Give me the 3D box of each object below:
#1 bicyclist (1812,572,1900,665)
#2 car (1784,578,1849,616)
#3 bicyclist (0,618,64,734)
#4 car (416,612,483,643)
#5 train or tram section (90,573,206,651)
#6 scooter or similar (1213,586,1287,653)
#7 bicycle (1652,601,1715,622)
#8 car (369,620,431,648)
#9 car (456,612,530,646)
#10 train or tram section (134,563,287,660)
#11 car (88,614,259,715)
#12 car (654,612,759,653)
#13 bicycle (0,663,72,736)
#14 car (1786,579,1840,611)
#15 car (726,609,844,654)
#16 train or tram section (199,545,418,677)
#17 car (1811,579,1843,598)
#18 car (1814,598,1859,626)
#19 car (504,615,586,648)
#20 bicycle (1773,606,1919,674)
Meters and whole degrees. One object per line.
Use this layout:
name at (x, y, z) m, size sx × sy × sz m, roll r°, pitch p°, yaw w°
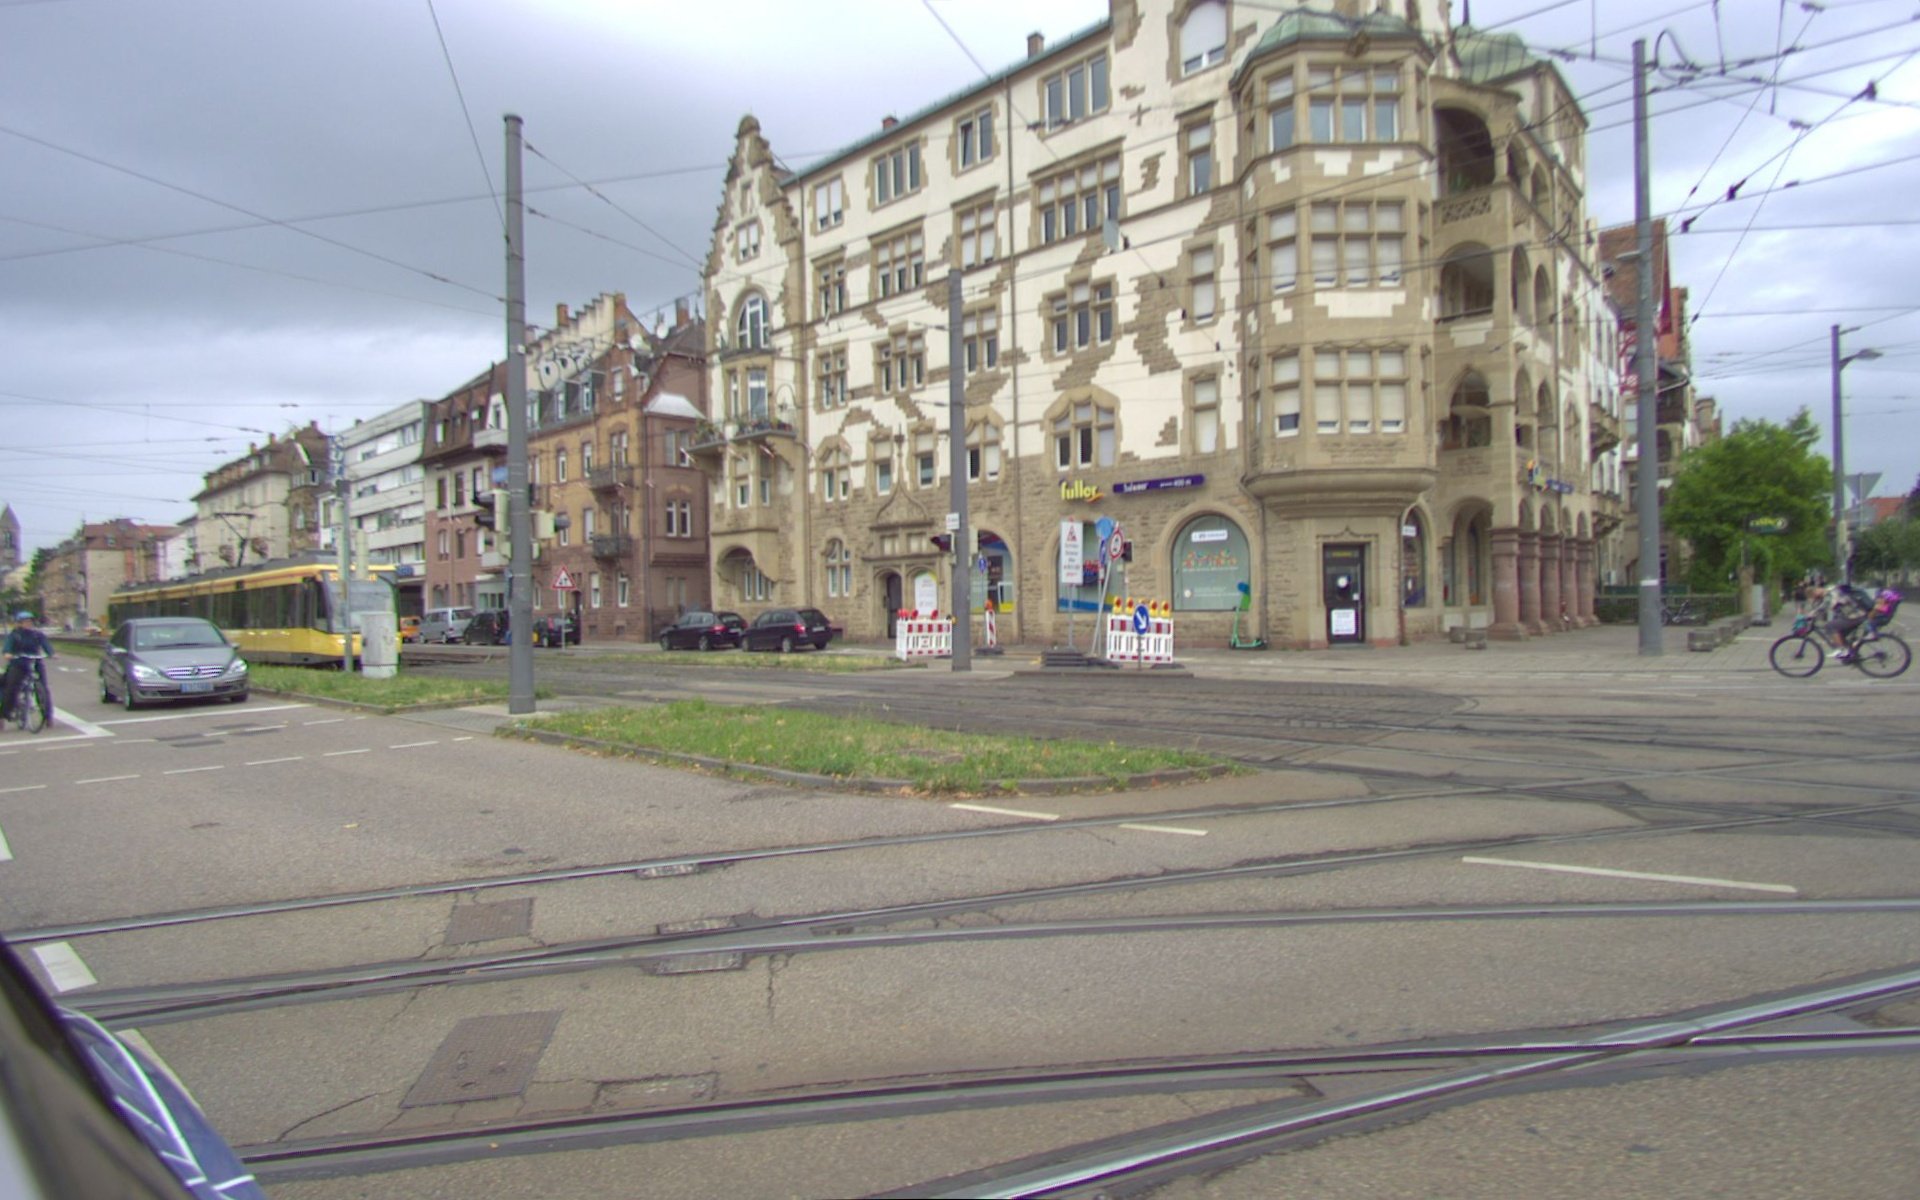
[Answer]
bicyclist at (14.545, 0.306, 16.459) m, size 0.971 × 1.455 × 0.699 m, roll -2°, pitch -1°, yaw 38°
car at (35.988, -0.145, 42.478) m, size 1.801 × 1.522 × 3.942 m, roll -1°, pitch 0°, yaw 44°
bicyclist at (-13.636, 1.096, 14.700) m, size 0.890 × 1.608 × 0.801 m, roll -4°, pitch -2°, yaw 41°
car at (-28.632, 1.514, 56.721) m, size 3.997 × 1.608 × 1.973 m, roll -1°, pitch 0°, yaw 40°
train or tram section at (-41.065, 0.595, 50.907) m, size 13.619 × 3.463 × 2.616 m, roll -1°, pitch 0°, yaw 43°
scooter or similar at (7.749, 0.517, 27.127) m, size 1.829 × 1.728 × 0.558 m, roll -1°, pitch 0°, yaw 41°
bicycle at (25.990, 0.412, 36.374) m, size 1.804 × 0.744 × 0.554 m, roll -1°, pitch 0°, yaw 43°
car at (-33.878, 2.025, 61.168) m, size 3.997 × 1.608 × 1.973 m, roll -1°, pitch 0°, yaw 40°
car at (-24.008, 1.454, 52.001) m, size 3.997 × 1.608 × 1.973 m, roll -1°, pitch 0°, yaw 40°
train or tram section at (-31.096, 0.466, 41.613) m, size 13.619 × 3.463 × 2.616 m, roll -1°, pitch 0°, yaw 43°
car at (-14.699, 1.109, 18.849) m, size 3.774 × 1.652 × 1.845 m, roll -1°, pitch 0°, yaw 41°
car at (-9.831, 1.215, 39.091) m, size 3.997 × 1.453 × 1.973 m, roll -1°, pitch 0°, yaw 40°
bicycle at (-13.574, 1.424, 14.659) m, size 2.145 × 0.952 × 0.801 m, roll -4°, pitch -2°, yaw 41°
car at (42.520, -0.233, 50.429) m, size 1.801 × 1.522 × 3.942 m, roll -1°, pitch 0°, yaw 44°
car at (-6.202, 1.079, 35.713) m, size 3.997 × 1.453 × 1.973 m, roll -1°, pitch 0°, yaw 40°
train or tram section at (-21.200, 0.338, 32.298) m, size 13.619 × 3.463 × 2.616 m, roll -1°, pitch 0°, yaw 43°
car at (74.204, -0.989, 86.579) m, size 1.801 × 1.522 × 3.942 m, roll -1°, pitch 0°, yaw 44°
car at (51.243, 0.683, 59.145) m, size 1.801 × 1.522 × 3.942 m, roll -1°, pitch 0°, yaw 44°
car at (-19.706, 1.476, 47.990) m, size 3.997 × 1.453 × 1.973 m, roll -1°, pitch 0°, yaw 40°
bicycle at (14.546, 0.653, 16.459) m, size 2.020 × 1.045 × 0.699 m, roll -2°, pitch -1°, yaw 39°
